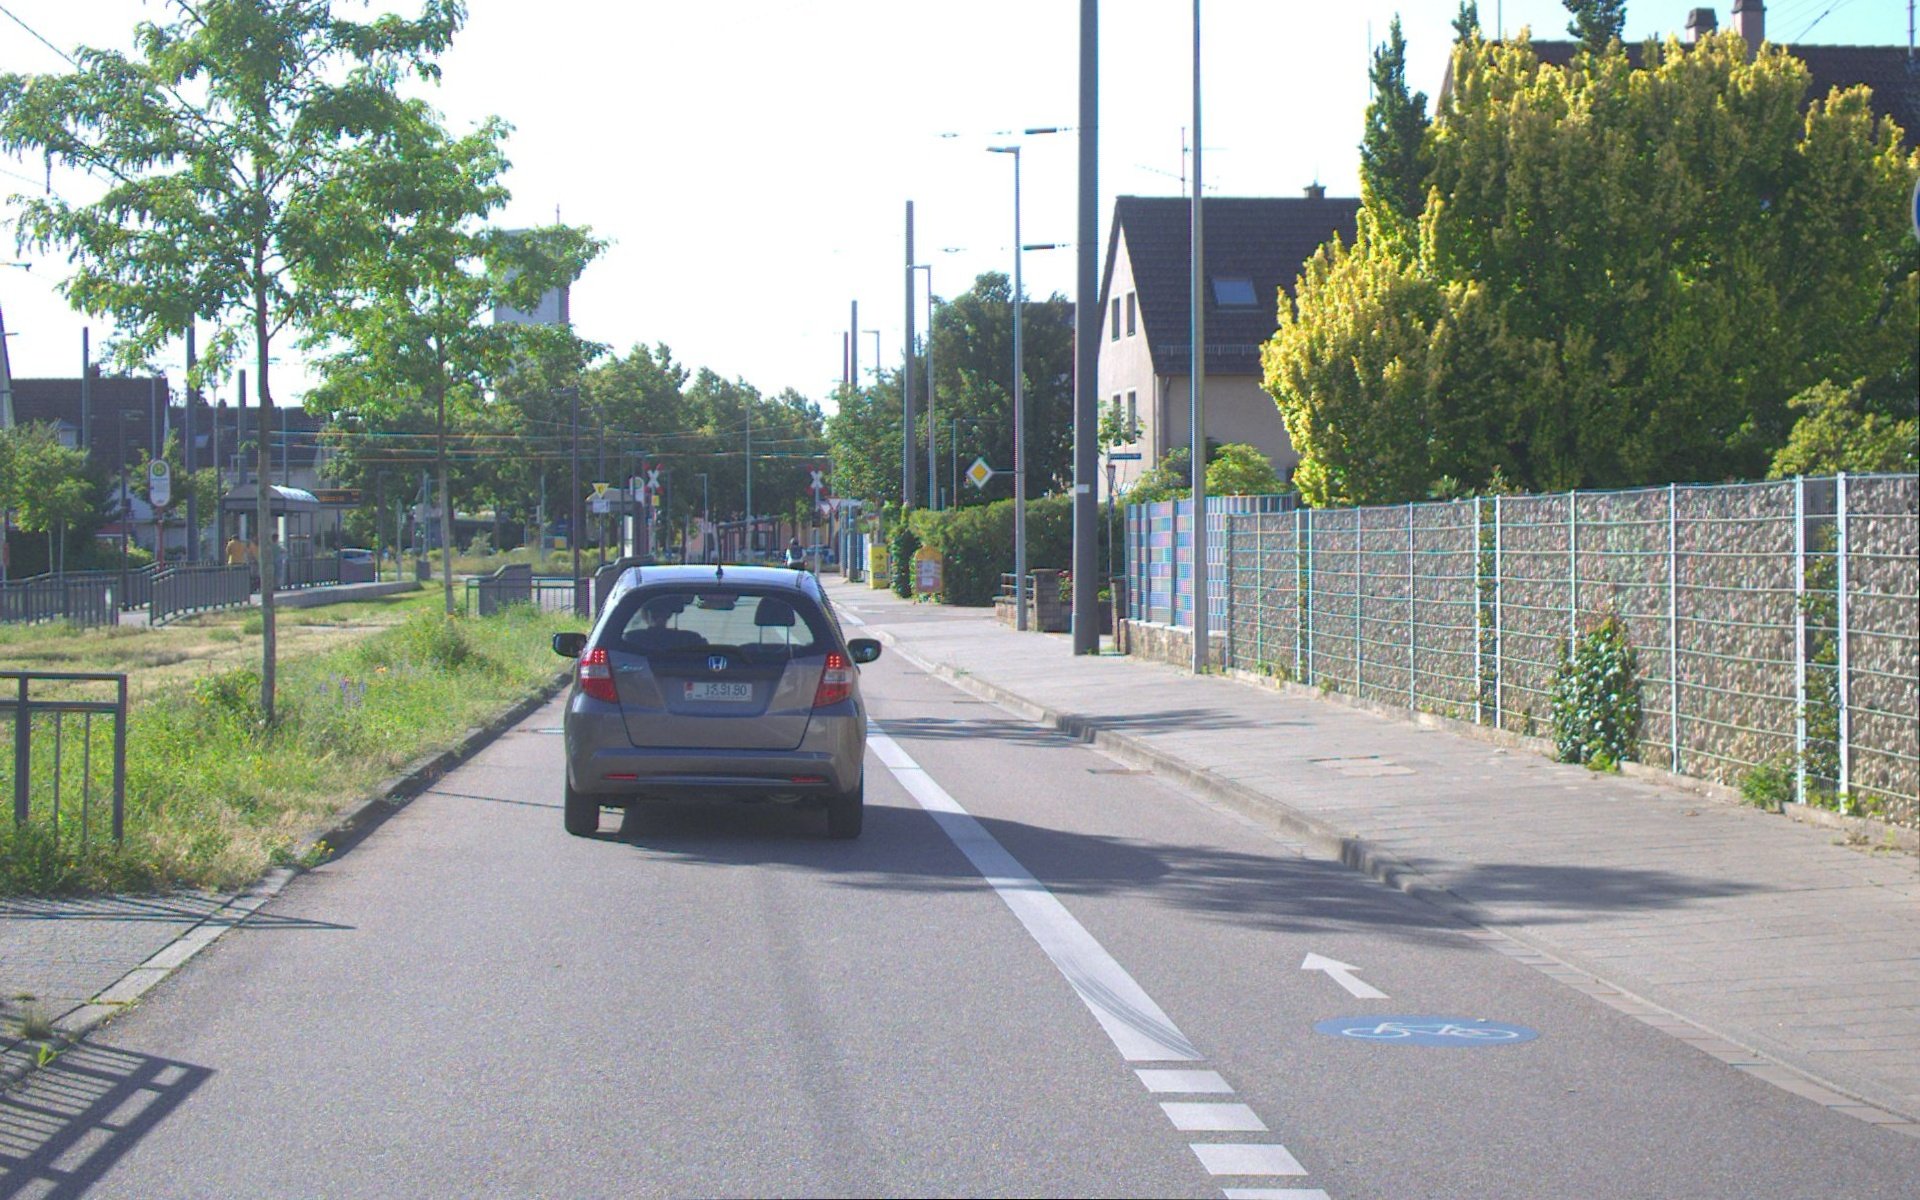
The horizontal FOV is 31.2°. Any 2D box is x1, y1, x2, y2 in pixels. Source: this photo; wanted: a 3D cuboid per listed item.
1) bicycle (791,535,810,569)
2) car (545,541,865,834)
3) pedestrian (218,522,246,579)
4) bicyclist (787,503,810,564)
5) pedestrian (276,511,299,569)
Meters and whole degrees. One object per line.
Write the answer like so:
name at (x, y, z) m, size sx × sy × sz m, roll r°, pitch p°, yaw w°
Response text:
bicycle at (-4.485, -1.347, 96.589) m, size 0.475 × 0.958 × 1.657 m, roll 1°, pitch 1°, yaw -4°
car at (-1.420, 0.441, 20.232) m, size 1.670 × 1.530 × 3.487 m, roll 1°, pitch 1°, yaw -1°
pedestrian at (-19.794, -1.344, 93.437) m, size 0.675 × 1.530 × 0.749 m, roll -1°, pitch 2°, yaw -8°
bicyclist at (-4.529, -1.867, 96.361) m, size 0.598 × 1.695 × 0.683 m, roll 1°, pitch 1°, yaw -4°
pedestrian at (-20.145, -1.807, 103.039) m, size 0.500 × 1.690 × 0.771 m, roll -3°, pitch 2°, yaw -3°
